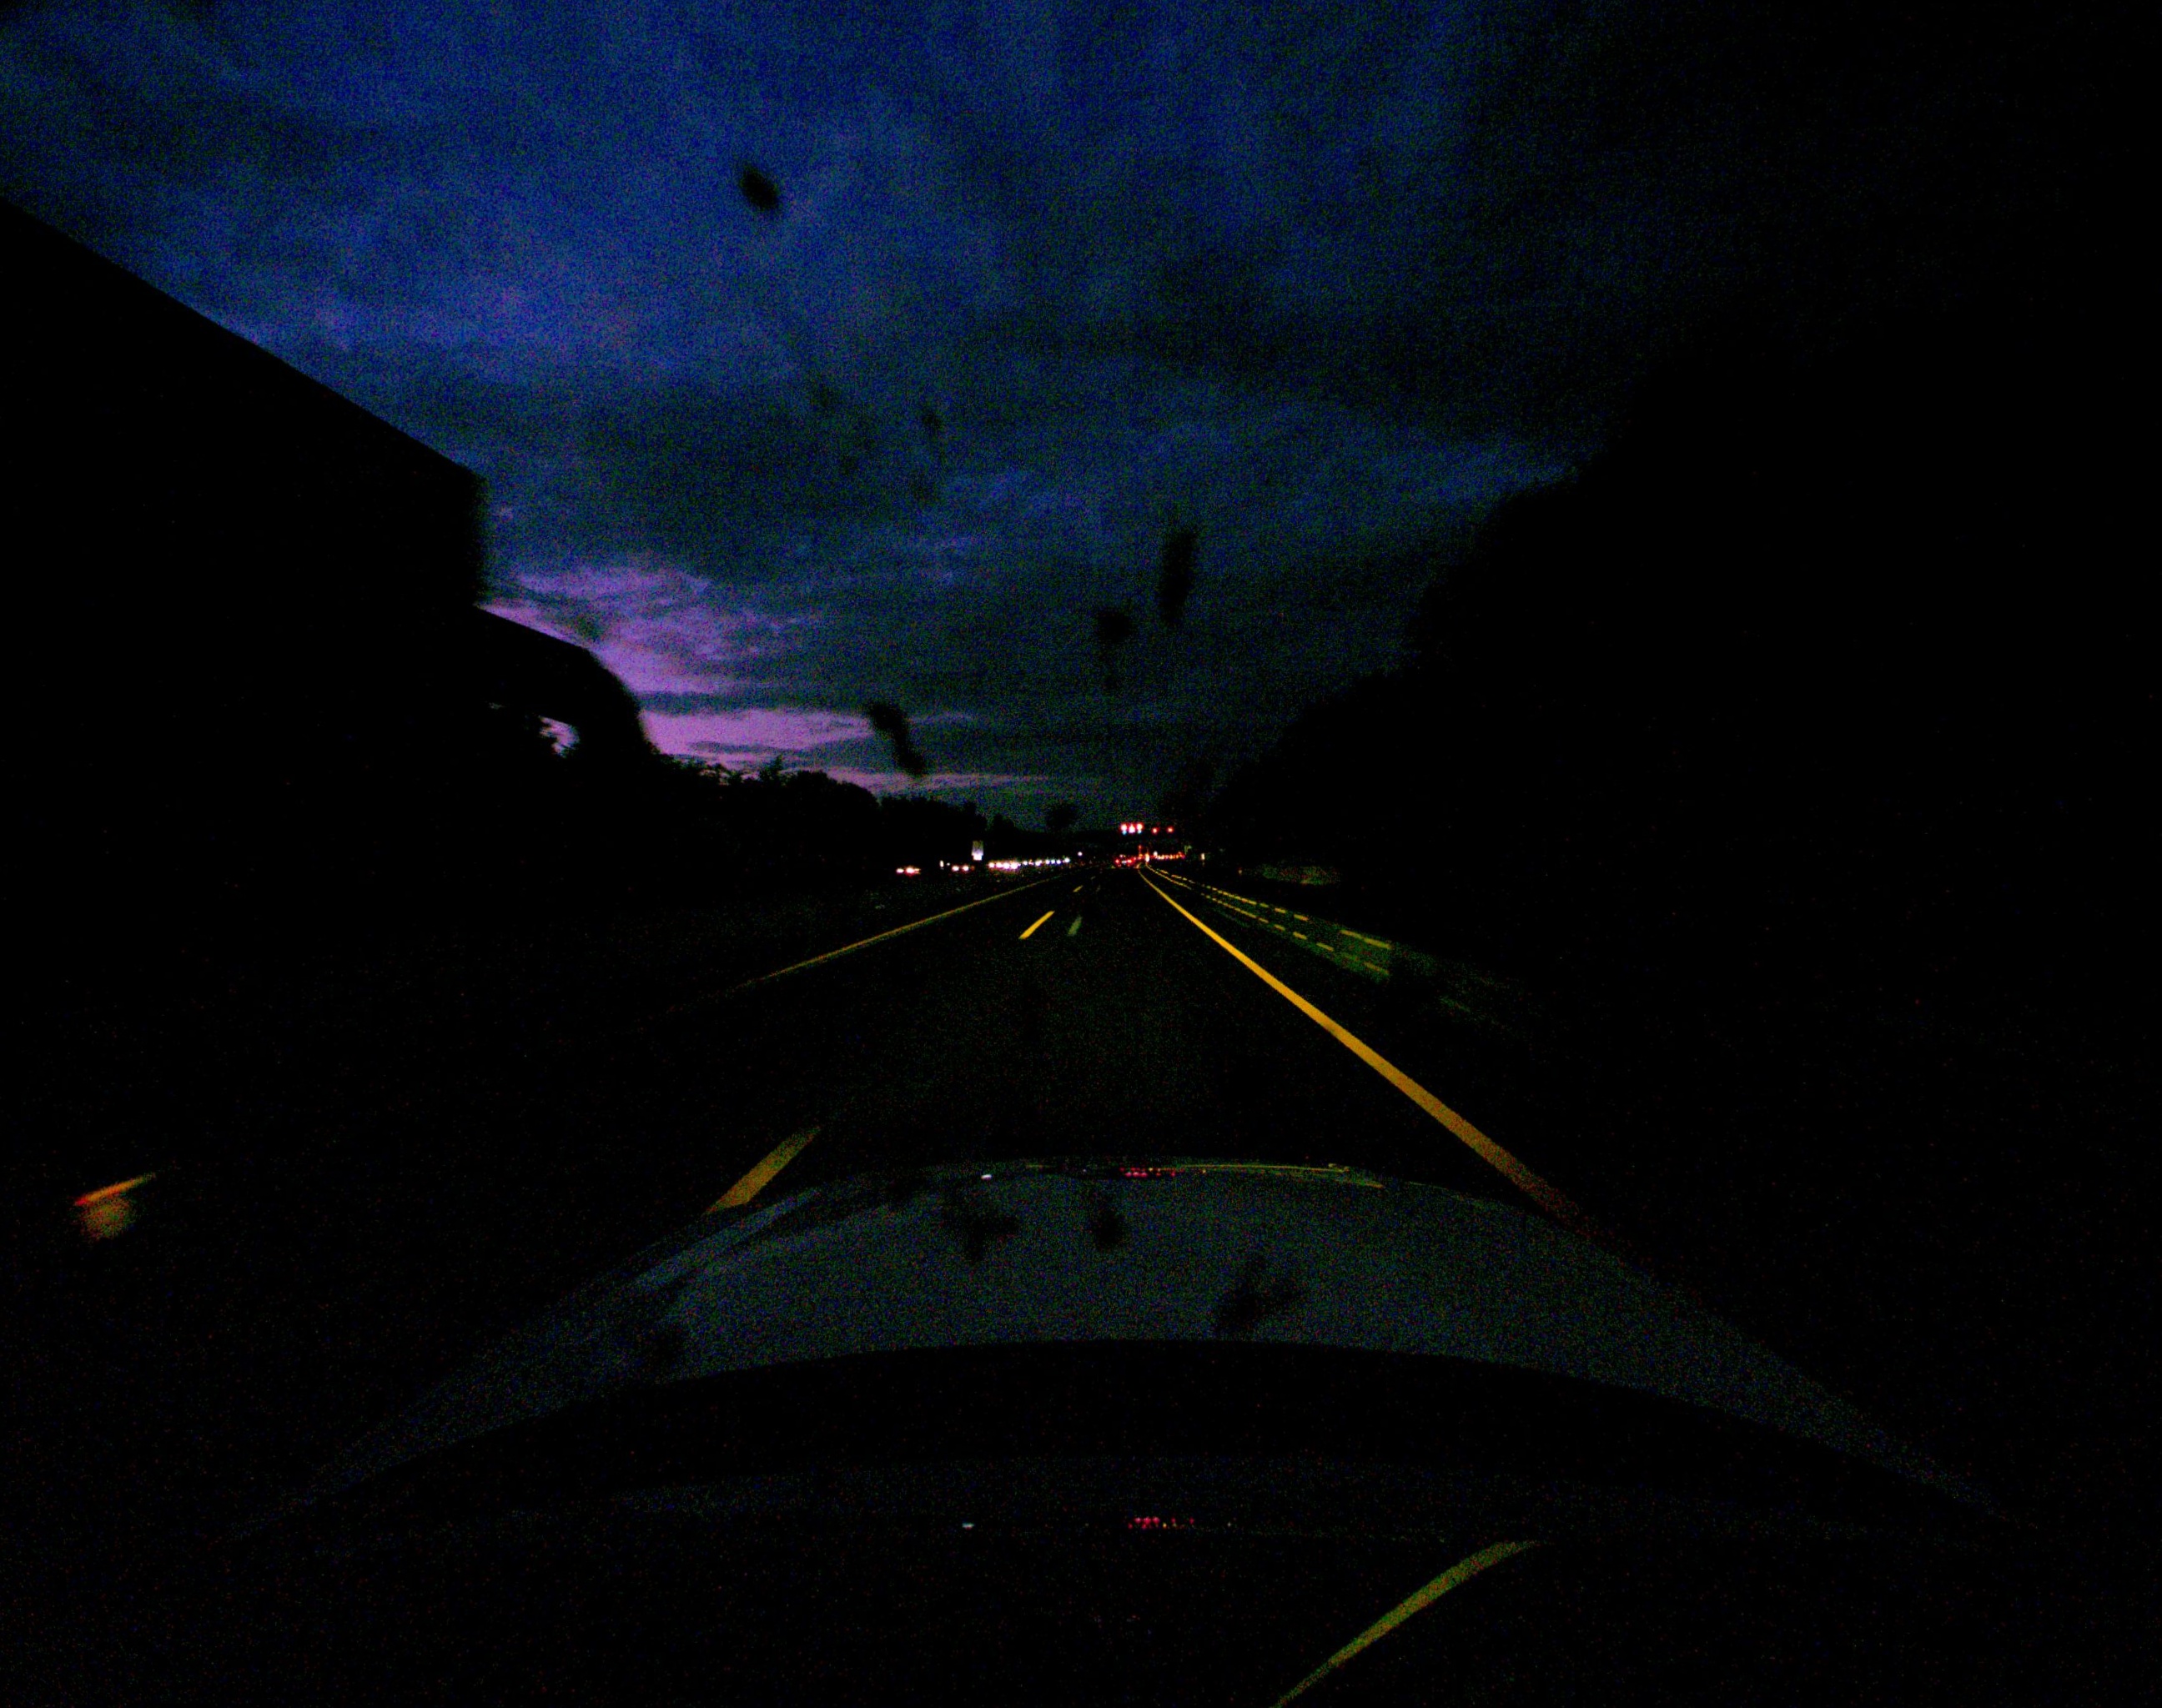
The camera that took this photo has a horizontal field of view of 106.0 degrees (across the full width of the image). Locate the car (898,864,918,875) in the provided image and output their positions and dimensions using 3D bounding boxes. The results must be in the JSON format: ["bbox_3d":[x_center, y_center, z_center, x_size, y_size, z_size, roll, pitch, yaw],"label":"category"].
[{"bbox_3d":[-23.353,2.112,110.061,1.569,1.470,4.232,0,-1,5],"label":"car"}]

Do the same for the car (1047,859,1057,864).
[{"bbox_3d":[-7.342,1.897,207.307,1.802,1.485,4.708,0,-1,5],"label":"car"}]

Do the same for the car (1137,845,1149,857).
[{"bbox_3d":[18.414,-0.852,240.559,3.588,3.396,8.024,0,-1,5],"label":"car"}]

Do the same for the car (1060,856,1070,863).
[{"bbox_3d":[-4.056,1.484,207.103,1.891,1.738,4.815,0,-1,5],"label":"car"}]

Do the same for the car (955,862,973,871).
[{"bbox_3d":[-17.647,1.870,122.708,1.664,1.470,4.654,0,-1,6],"label":"car"}]

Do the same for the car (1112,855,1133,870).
[{"bbox_3d":[4.491,0.906,88.205,2.256,1.621,4.003,0,-1,3],"label":"car"}]

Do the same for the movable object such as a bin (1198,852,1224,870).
[{"bbox_3d":[12.610,0.698,79.183,1.985,1.601,4.088,-3,-1,4],"label":"movable object such as a bin"}]

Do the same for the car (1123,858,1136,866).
[{"bbox_3d":[8.869,1.537,148.947,1.960,1.437,4.009,0,-1,8],"label":"car"}]

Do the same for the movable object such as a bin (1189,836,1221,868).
[{"bbox_3d":[12.743,-0.127,84.156,2.610,3.108,5.810,-2,-1,3],"label":"movable object such as a bin"}]

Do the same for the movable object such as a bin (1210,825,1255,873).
[{"bbox_3d":[11.308,-0.358,61.222,2.553,3.318,5.583,-2,-1,3],"label":"movable object such as a bin"}]
